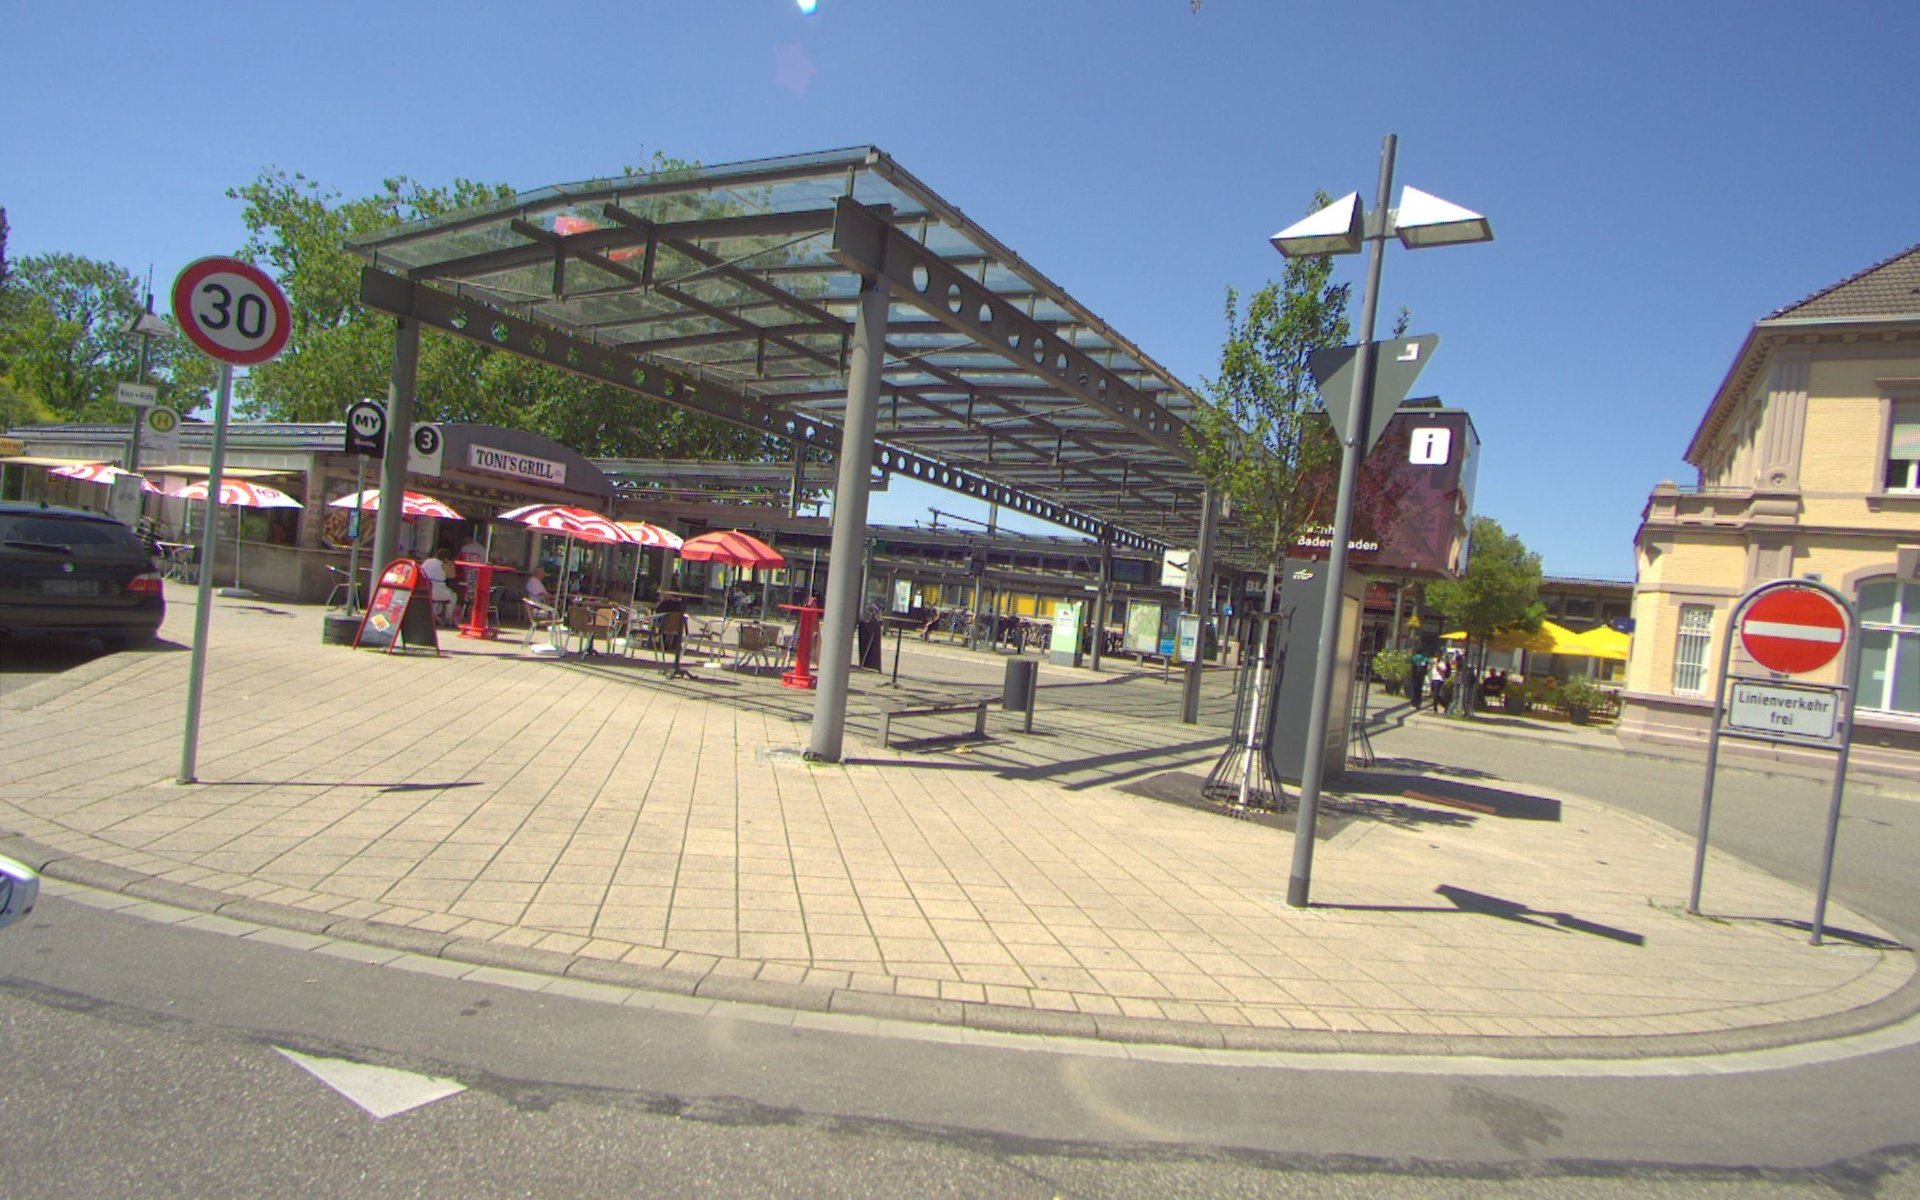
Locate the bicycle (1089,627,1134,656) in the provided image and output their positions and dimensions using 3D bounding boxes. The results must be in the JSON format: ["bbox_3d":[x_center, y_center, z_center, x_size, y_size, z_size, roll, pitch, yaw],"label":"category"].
[{"bbox_3d":[6.708,1.848,44.330,0.951,1.015,2.794,6,-3,30],"label":"bicycle"}]

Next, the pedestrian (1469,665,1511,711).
[{"bbox_3d":[17.475,2.873,33.163,1.035,1.371,0.973,5,2,34],"label":"pedestrian"}]

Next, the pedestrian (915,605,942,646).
[{"bbox_3d":[-1.166,0.944,37.021,0.665,1.413,0.625,6,2,32],"label":"pedestrian"}]

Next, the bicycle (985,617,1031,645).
[{"bbox_3d":[2.285,1.461,47.531,0.951,1.015,2.794,6,-3,30],"label":"bicycle"}]

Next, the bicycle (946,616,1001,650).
[{"bbox_3d":[0.549,1.309,39.179,0.797,1.015,2.794,6,-3,30],"label":"bicycle"}]

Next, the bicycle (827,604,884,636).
[{"bbox_3d":[-4.353,0.854,42.254,0.797,1.015,2.794,6,-3,30],"label":"bicycle"}]

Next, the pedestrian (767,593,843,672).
[{"bbox_3d":[-2.761,0.587,17.984,0.881,1.293,0.845,7,0,36],"label":"pedestrian"}]

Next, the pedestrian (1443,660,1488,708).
[{"bbox_3d":[16.251,2.696,32.385,0.958,1.371,1.052,4,2,11],"label":"pedestrian"}]

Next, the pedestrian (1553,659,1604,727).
[{"bbox_3d":[18.615,2.796,30.301,1.064,1.870,1.081,6,0,30],"label":"pedestrian"}]

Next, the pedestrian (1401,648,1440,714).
[{"bbox_3d":[13.492,2.361,29.471,0.684,1.832,0.625,6,1,-37],"label":"pedestrian"}]

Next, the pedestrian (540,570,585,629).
[{"bbox_3d":[-8.882,-0.011,22.480,0.653,1.219,0.585,9,-3,-43],"label":"pedestrian"}]

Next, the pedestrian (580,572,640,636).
[{"bbox_3d":[-7.290,0.088,20.961,0.725,1.219,0.760,6,-2,32],"label":"pedestrian"}]

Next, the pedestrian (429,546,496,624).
[{"bbox_3d":[-9.178,-0.265,18.580,0.676,1.328,0.894,6,0,-3],"label":"pedestrian"}]

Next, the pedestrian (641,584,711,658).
[{"bbox_3d":[-5.001,0.368,17.699,0.881,1.175,0.686,7,0,36],"label":"pedestrian"}]

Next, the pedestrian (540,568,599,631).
[{"bbox_3d":[-8.369,-0.016,21.579,0.725,1.219,0.760,6,-2,32],"label":"pedestrian"}]

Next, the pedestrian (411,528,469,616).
[{"bbox_3d":[-11.021,-0.586,21.340,0.695,1.759,0.687,6,0,32],"label":"pedestrian"}]

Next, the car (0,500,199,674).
[{"bbox_3d":[-10.062,-0.284,10.379,4.646,1.480,1.927,6,2,31],"label":"car"}]

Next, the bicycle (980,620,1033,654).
[{"bbox_3d":[1.824,1.446,38.734,0.797,1.015,2.794,6,-3,30],"label":"bicycle"}]

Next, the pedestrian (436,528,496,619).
[{"bbox_3d":[-10.089,-0.533,20.544,0.695,1.759,0.687,6,0,32],"label":"pedestrian"}]

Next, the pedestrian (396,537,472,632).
[{"bbox_3d":[-8.616,-0.245,16.508,0.676,1.435,0.894,6,0,-5],"label":"pedestrian"}]

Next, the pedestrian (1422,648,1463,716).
[{"bbox_3d":[13.731,2.329,28.635,0.621,1.832,0.595,6,1,-10],"label":"pedestrian"}]

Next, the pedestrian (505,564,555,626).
[{"bbox_3d":[-9.310,-0.103,21.788,0.582,1.219,0.656,6,-2,31],"label":"pedestrian"}]

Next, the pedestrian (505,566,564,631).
[{"bbox_3d":[-8.349,-0.017,19.774,0.676,1.175,0.894,6,0,-3],"label":"pedestrian"}]
